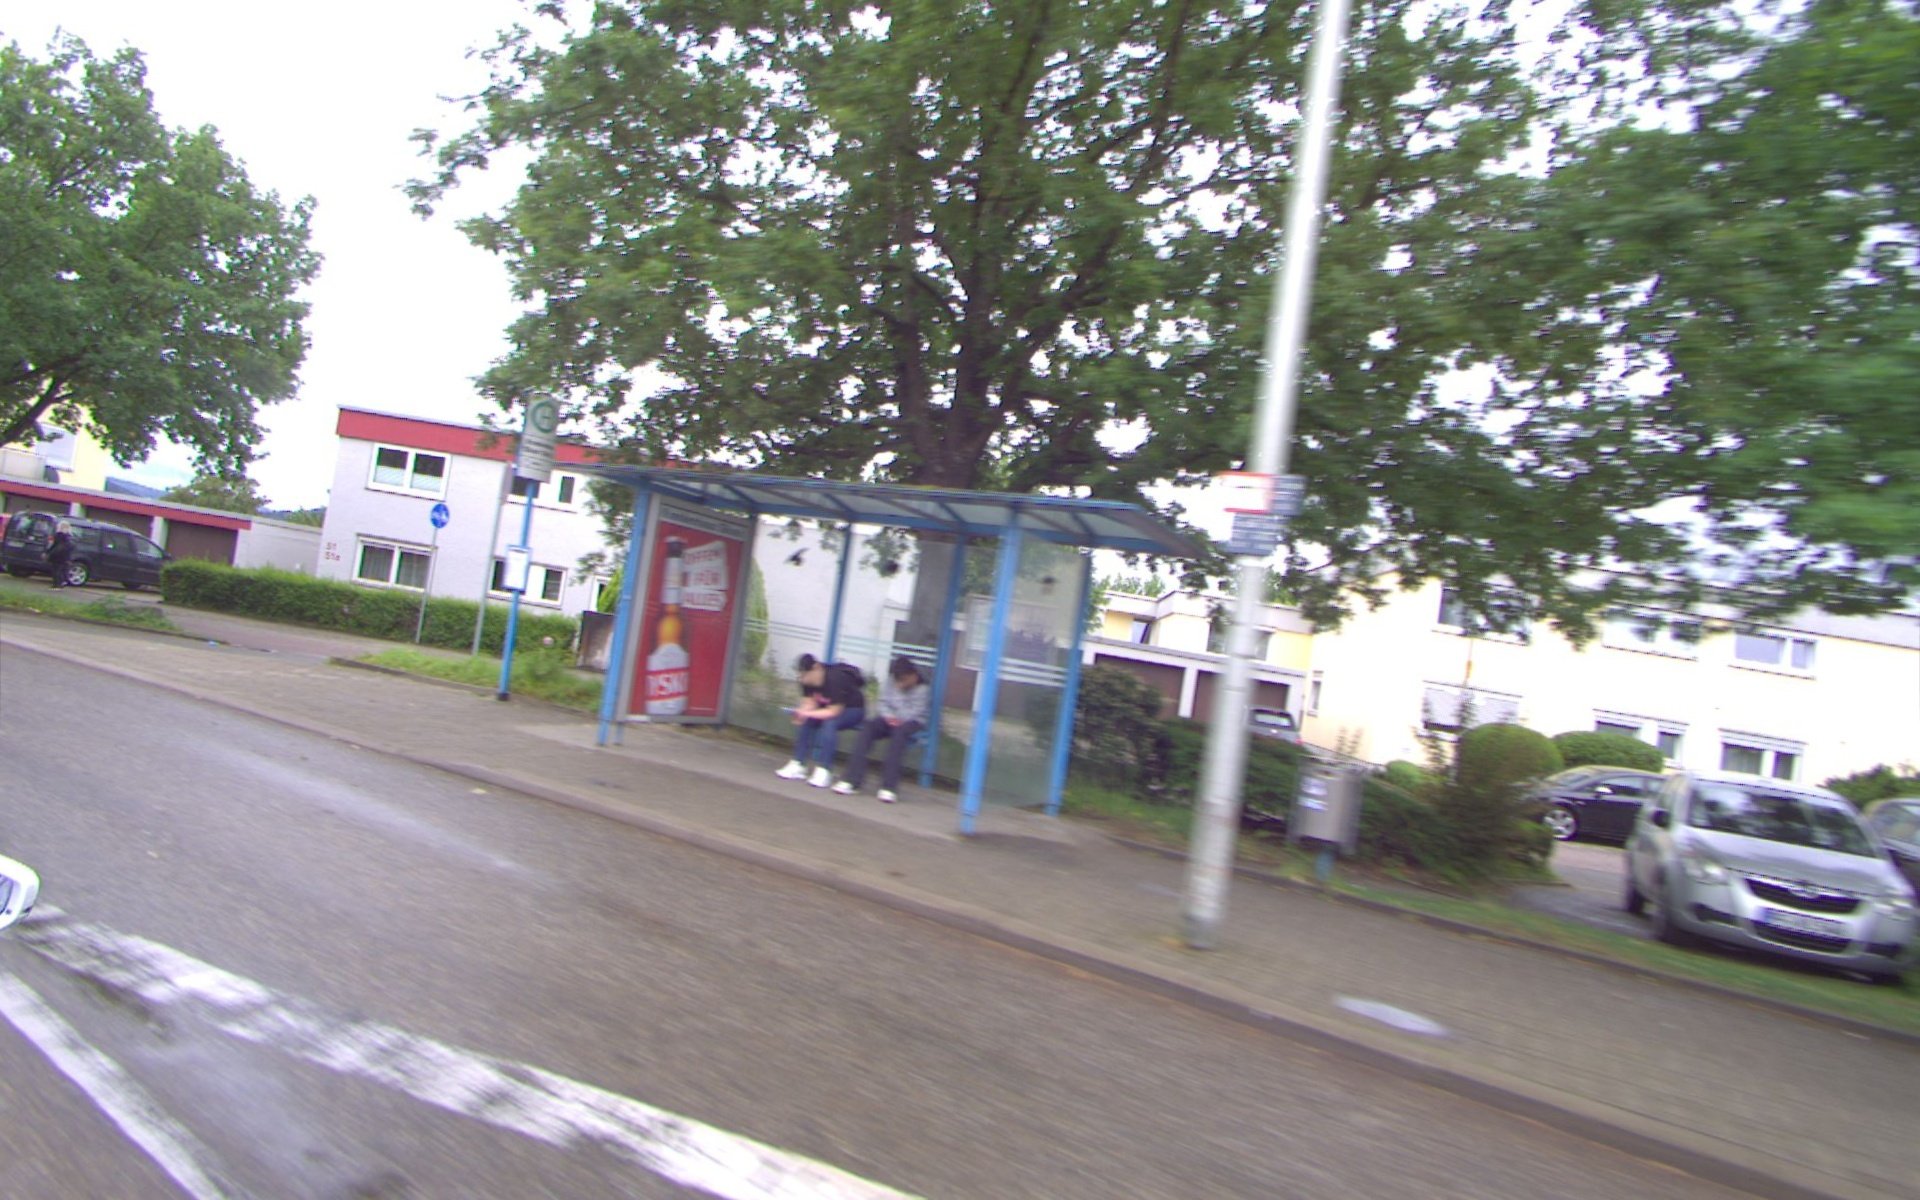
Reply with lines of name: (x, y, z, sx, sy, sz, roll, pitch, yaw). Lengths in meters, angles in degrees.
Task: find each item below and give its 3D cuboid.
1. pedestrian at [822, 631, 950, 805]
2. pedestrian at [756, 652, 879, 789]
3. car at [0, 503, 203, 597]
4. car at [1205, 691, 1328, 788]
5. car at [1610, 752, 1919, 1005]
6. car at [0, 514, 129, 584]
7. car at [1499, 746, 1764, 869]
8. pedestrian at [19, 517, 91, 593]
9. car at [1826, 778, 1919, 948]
pedestrian: (-0.582, 0.946, 8.093, 0.542, 1.264, 0.728, 7, -2, 32)
pedestrian: (-1.181, 1.003, 8.432, 0.542, 1.023, 0.750, 7, -2, 32)
car: (-22.026, -1.203, 25.740, 1.888, 1.740, 4.006, 8, -3, 4)
car: (7.047, 3.173, 23.520, 1.729, 1.551, 3.623, 8, 0, 3)
car: (7.313, 2.343, 9.347, 1.730, 1.502, 3.657, 7, -3, 29)
car: (-24.502, -1.398, 26.595, 1.675, 1.457, 3.709, 8, -3, 4)
car: (12.791, 3.925, 19.362, 3.754, 1.526, 1.696, 8, -3, 7)
pedestrian: (-20.775, -1.021, 23.108, 0.827, 1.576, 0.666, 8, 0, 0)
car: (10.060, 2.678, 9.364, 1.727, 1.502, 3.662, 8, -3, 21)
